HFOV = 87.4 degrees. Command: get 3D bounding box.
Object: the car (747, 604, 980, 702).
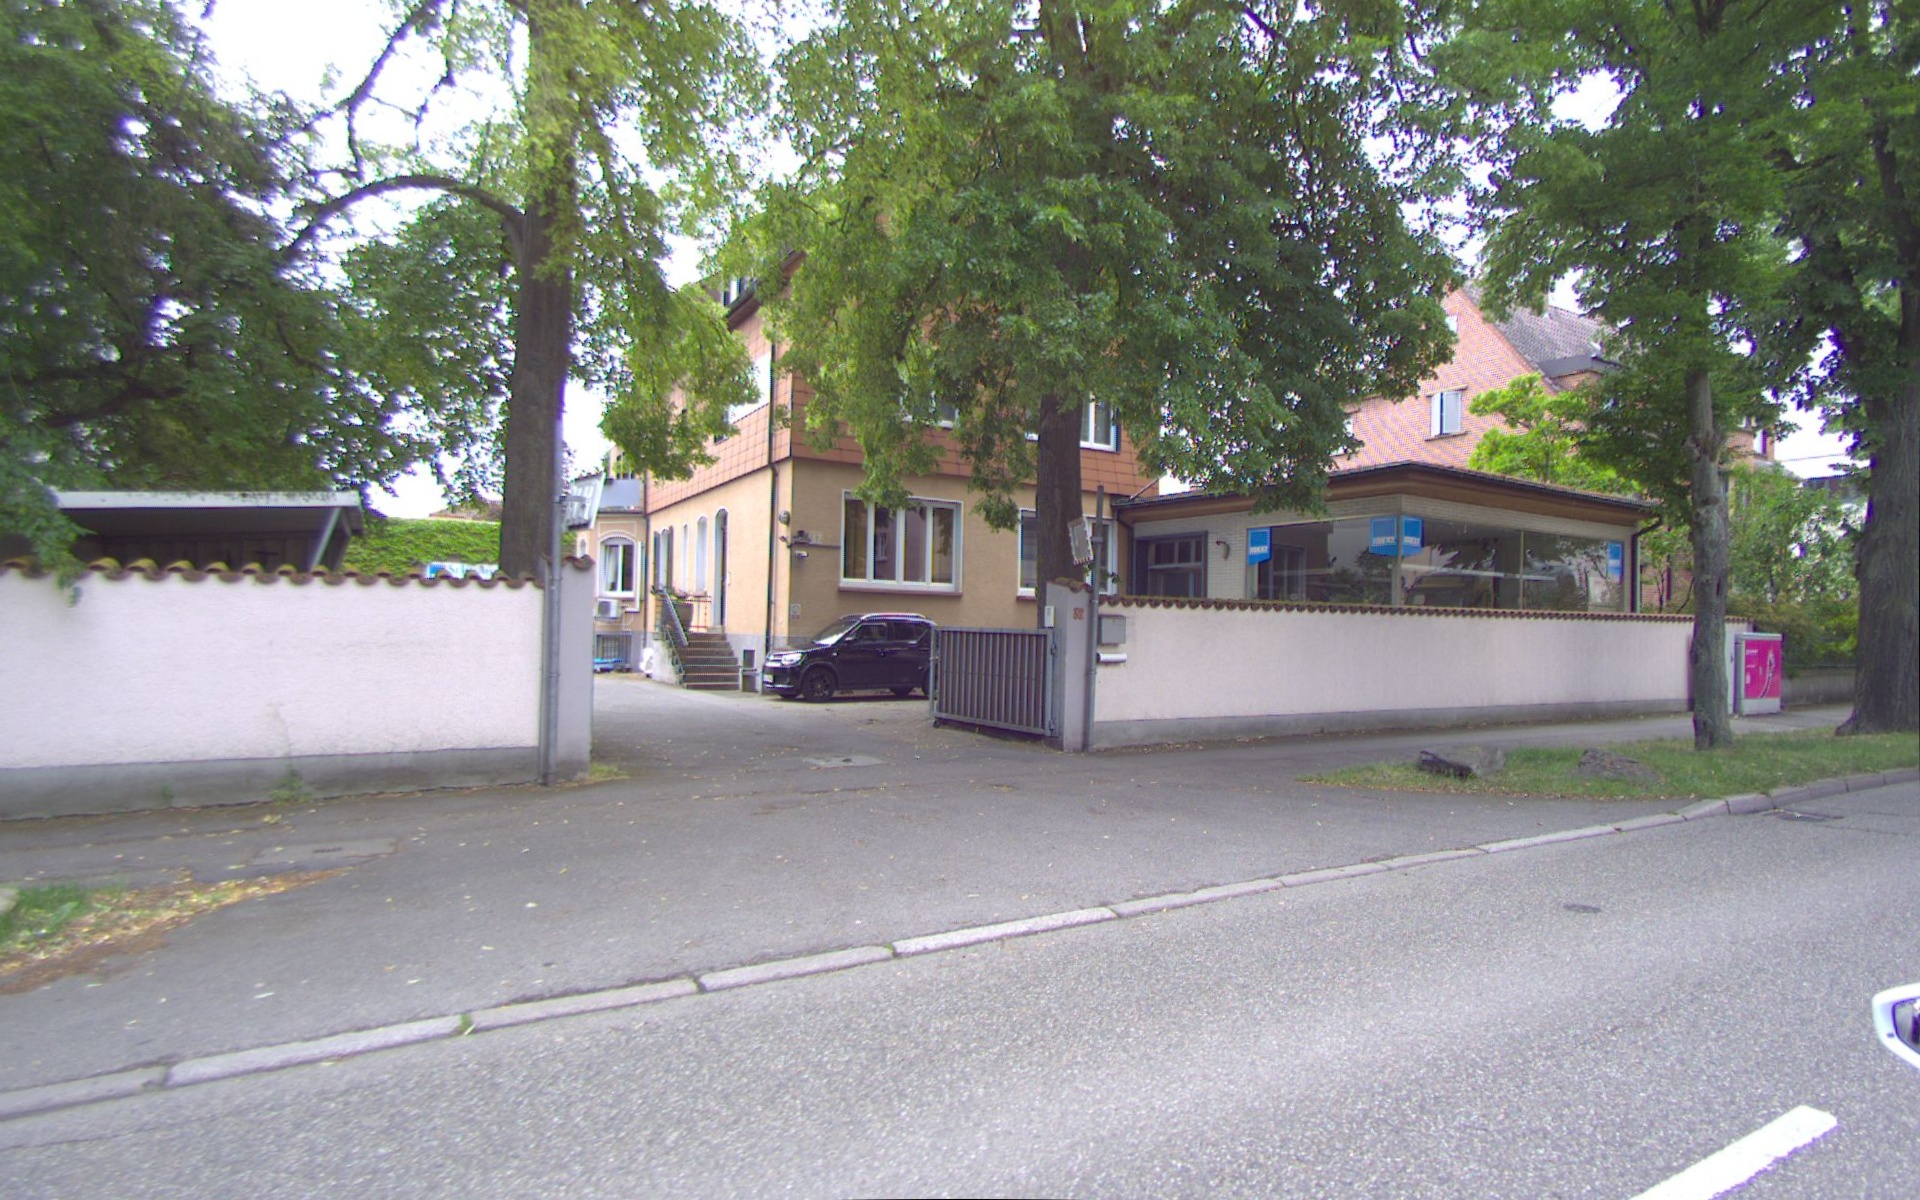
[{"bbox_3d":[-1.779,0.977,18.882,3.955,1.661,1.771,2,-1,-31],"label":"car"}]
